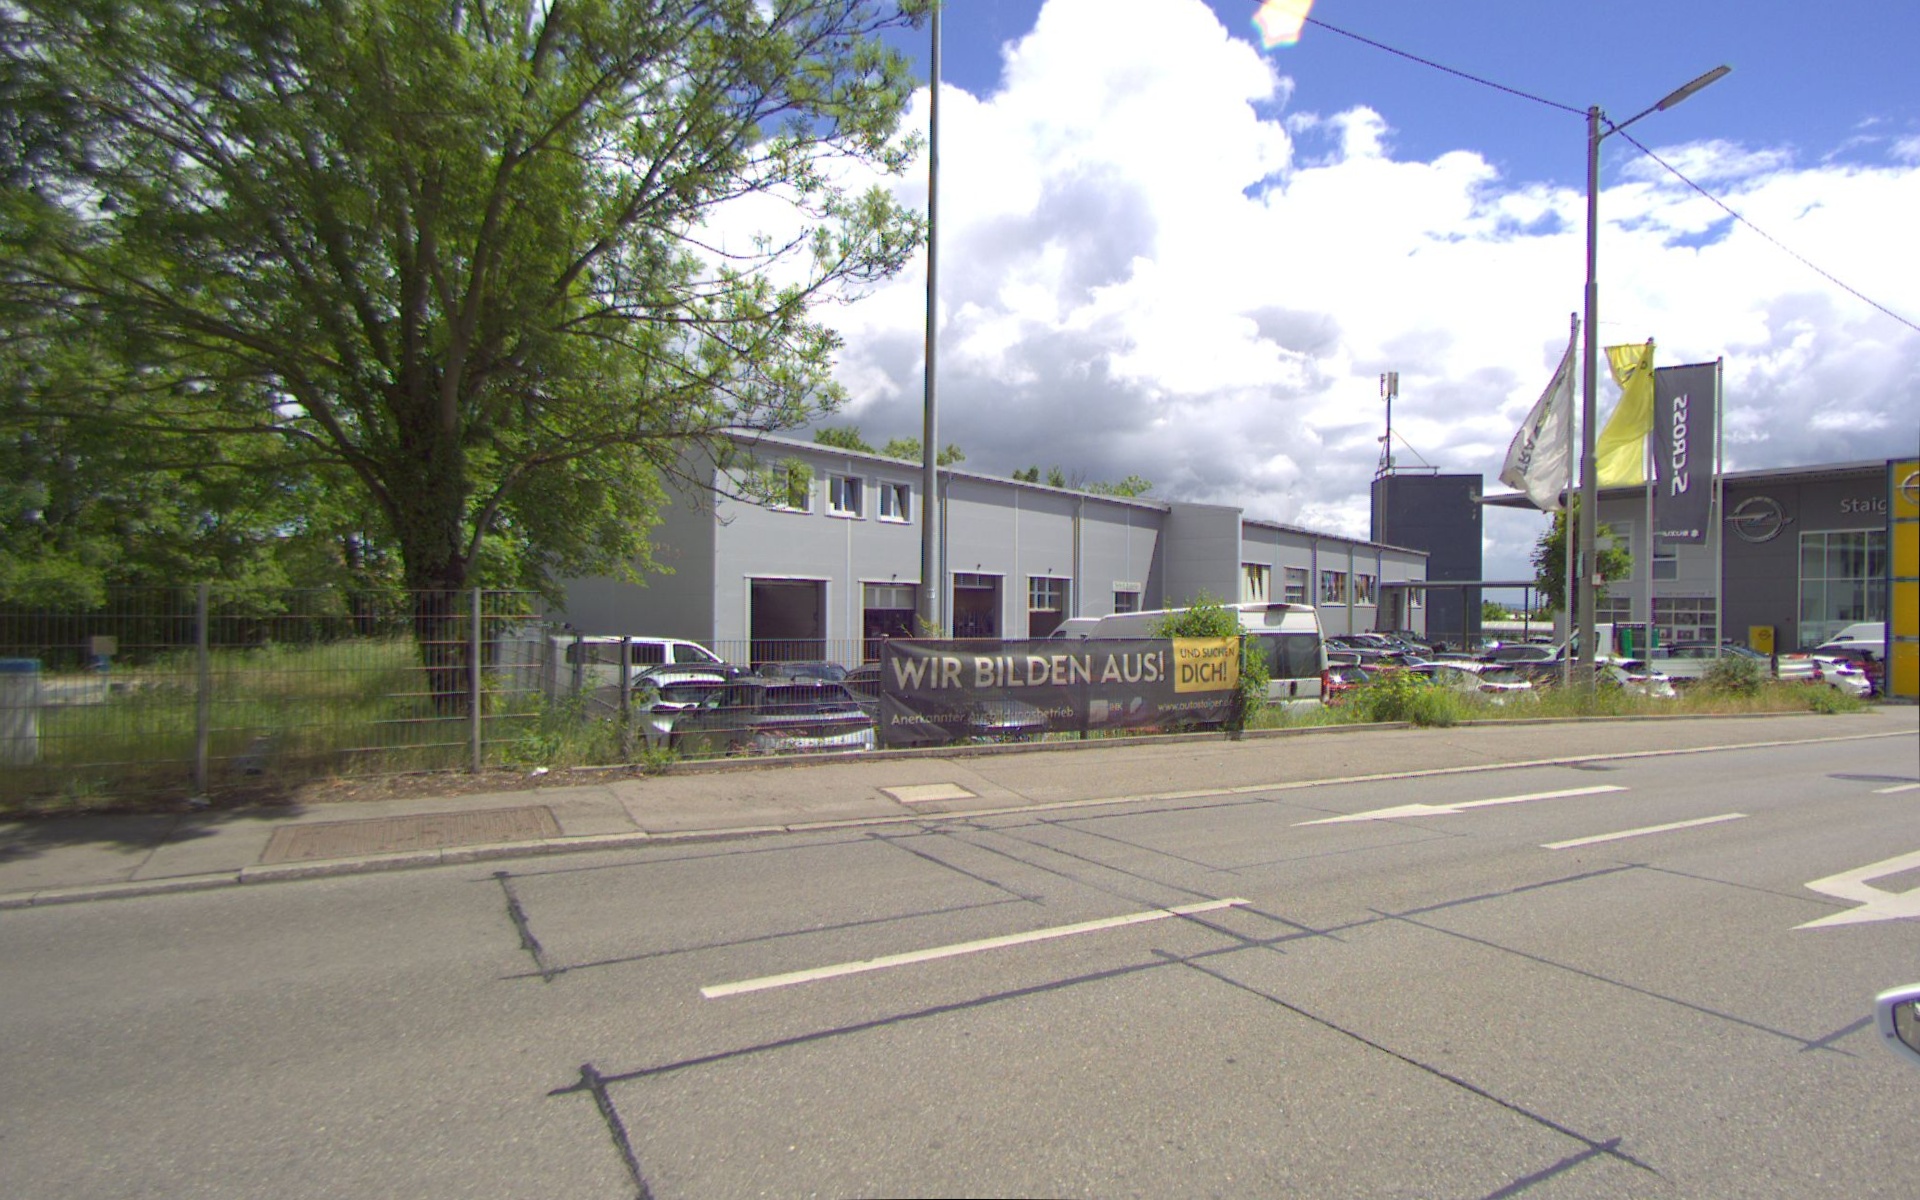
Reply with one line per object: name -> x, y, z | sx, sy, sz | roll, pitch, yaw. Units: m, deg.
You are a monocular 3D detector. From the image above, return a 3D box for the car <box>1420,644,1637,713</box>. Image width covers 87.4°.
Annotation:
car -> 12.386, 1.677, 22.104 | 1.906, 1.227, 3.699 | 3, -1, -29

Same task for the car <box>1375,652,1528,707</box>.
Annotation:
car -> 14.379, 2.290, 29.571 | 1.626, 1.346, 3.805 | 3, -1, -29

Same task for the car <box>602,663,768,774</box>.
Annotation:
car -> -4.716, 1.880, 16.847 | 1.802, 1.404, 4.016 | 3, -1, -28

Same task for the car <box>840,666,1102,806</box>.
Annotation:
car -> -0.014, 1.737, 13.905 | 1.905, 1.404, 4.016 | 3, -1, -28

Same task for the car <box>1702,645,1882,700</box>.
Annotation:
car -> 26.181, 2.239, 31.739 | 1.977, 1.428, 3.967 | 0, 0, -31

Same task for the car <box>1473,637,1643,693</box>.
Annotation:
car -> 18.097, 1.955, 30.582 | 1.805, 1.542, 4.060 | 0, -3, -30

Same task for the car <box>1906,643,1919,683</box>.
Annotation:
car -> 38.504, 2.425, 37.380 | 4.387, 1.529, 1.944 | 1, -2, 18

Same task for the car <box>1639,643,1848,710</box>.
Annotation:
car -> 20.598, 1.979, 26.593 | 1.732, 1.609, 3.971 | 1, -3, -29

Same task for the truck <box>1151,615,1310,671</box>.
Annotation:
truck -> 11.918, 1.880, 44.516 | 6.219, 2.258, 2.690 | 0, -3, 40

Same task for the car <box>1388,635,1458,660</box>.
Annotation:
car -> 27.444, 2.778, 59.548 | 3.429, 1.301, 1.653 | 0, 0, 43

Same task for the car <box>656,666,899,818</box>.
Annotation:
car -> -2.525, 1.686, 13.045 | 1.905, 1.404, 4.015 | 3, -1, -29

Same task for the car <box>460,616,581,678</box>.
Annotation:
car -> -13.498, 1.393, 30.767 | 4.113, 1.751, 1.833 | 0, -1, 42

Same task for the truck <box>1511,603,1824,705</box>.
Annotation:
truck -> 17.135, 1.267, 24.707 | 2.450, 2.176, 5.829 | 3, -3, -32

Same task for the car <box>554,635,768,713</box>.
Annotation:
car -> -7.399, 1.765, 24.973 | 4.855, 1.751, 1.829 | 1, -1, -28

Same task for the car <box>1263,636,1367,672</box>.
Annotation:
car -> 16.563, 2.498, 46.947 | 4.174, 1.427, 1.921 | 1, -2, 37

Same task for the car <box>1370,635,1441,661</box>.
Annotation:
car -> 25.724, 2.761, 58.090 | 3.429, 1.301, 1.653 | 0, 0, 43

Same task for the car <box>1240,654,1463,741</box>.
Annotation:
car -> 7.870, 1.922, 20.571 | 1.903, 1.404, 4.019 | 3, -1, -26

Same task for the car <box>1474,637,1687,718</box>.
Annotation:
car -> 14.624, 1.785, 23.879 | 1.906, 1.630, 3.867 | 3, -1, -29

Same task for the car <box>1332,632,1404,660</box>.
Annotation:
car -> 23.141, 2.569, 57.011 | 3.429, 1.417, 1.653 | 0, 0, 43

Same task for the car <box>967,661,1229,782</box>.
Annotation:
car -> 1.978, 1.757, 15.552 | 1.907, 1.404, 4.012 | 3, -1, -31

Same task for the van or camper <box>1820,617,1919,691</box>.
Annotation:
van or camper -> 34.587, 1.913, 36.201 | 2.290, 2.565, 5.003 | 0, 0, -30

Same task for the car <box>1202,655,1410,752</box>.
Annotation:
car -> 6.169, 1.810, 18.238 | 1.705, 1.427, 3.326 | 3, -1, -26

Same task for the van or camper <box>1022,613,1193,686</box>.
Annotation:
van or camper -> 5.295, 1.699, 36.605 | 5.817, 2.386, 2.490 | 0, -1, 42

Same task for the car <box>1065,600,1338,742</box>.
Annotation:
car -> 3.879, 1.024, 16.784 | 2.174, 2.040, 4.138 | 0, 0, -32

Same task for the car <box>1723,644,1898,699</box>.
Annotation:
car -> 27.962, 2.289, 33.162 | 1.974, 1.511, 3.973 | 0, 0, -27

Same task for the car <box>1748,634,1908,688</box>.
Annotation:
car -> 31.504, 2.152, 36.594 | 1.972, 1.728, 3.976 | 0, 0, -24

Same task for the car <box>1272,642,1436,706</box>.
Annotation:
car -> 10.191, 1.887, 26.214 | 1.814, 1.427, 3.663 | 3, -1, -29

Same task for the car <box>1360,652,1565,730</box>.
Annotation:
car -> 10.409, 1.849, 21.044 | 1.689, 1.342, 3.534 | 3, -1, -26
